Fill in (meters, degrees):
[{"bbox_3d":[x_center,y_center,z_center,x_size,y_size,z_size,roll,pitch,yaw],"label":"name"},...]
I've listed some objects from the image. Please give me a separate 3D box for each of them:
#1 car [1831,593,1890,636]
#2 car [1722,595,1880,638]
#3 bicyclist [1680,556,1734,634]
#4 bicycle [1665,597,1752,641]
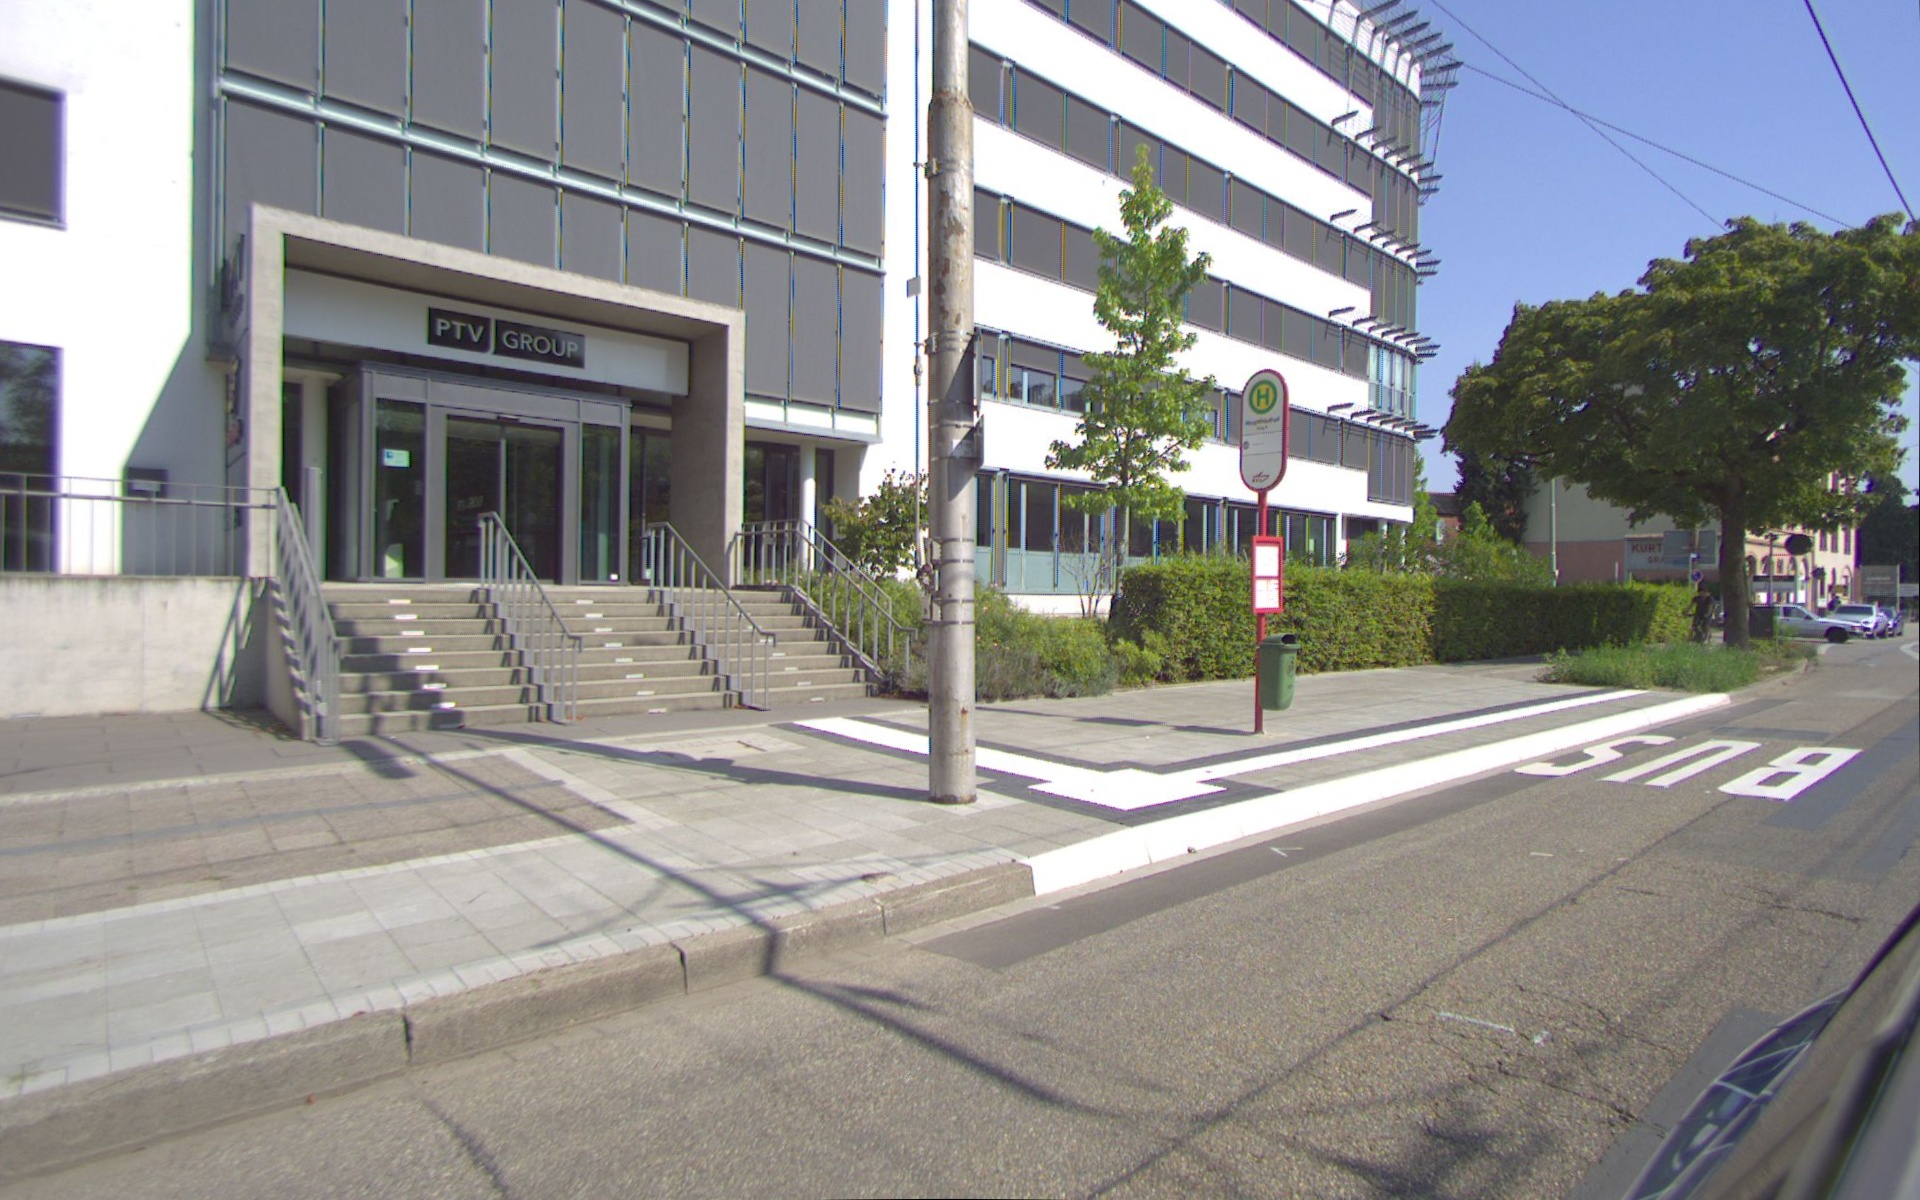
[{"bbox_3d":[42.605,0.642,47.847,1.955,1.946,4.482,0,1,44],"label":"car"},{"bbox_3d":[32.196,0.579,38.817,4.540,1.534,1.930,1,1,45],"label":"car"},{"bbox_3d":[20.124,-0.141,27.255,1.250,2.039,0.783,0,0,-34],"label":"bicyclist"},{"bbox_3d":[20.224,0.489,27.328,2.488,1.139,1.139,0,0,-34],"label":"bicycle"}]
